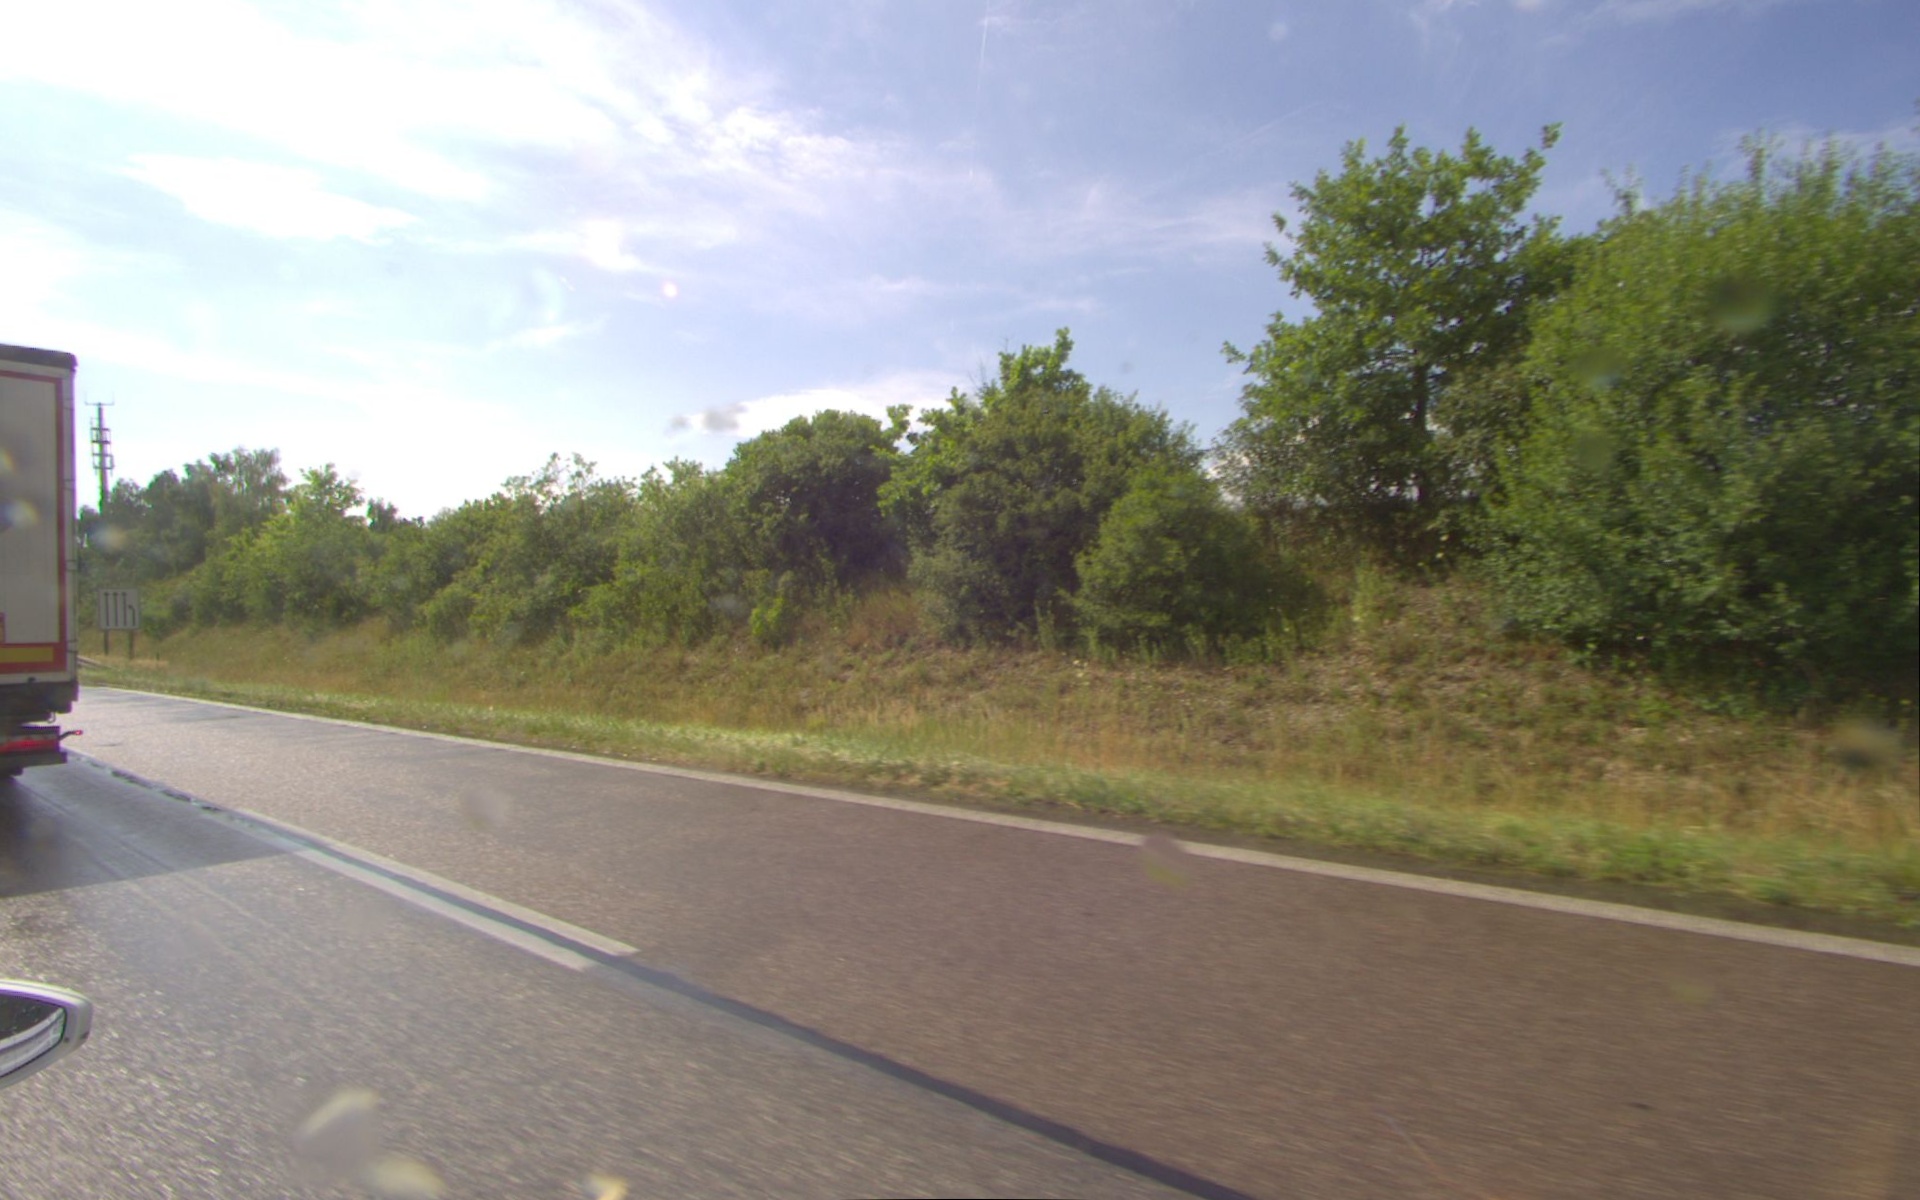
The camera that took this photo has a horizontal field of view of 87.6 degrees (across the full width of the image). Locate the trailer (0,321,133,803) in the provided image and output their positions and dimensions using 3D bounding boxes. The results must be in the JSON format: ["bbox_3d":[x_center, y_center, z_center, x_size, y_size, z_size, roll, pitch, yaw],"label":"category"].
[{"bbox_3d":[-13.710,-0.168,12.062,13.962,3.948,3.270,-2,-2,40],"label":"trailer"}]
